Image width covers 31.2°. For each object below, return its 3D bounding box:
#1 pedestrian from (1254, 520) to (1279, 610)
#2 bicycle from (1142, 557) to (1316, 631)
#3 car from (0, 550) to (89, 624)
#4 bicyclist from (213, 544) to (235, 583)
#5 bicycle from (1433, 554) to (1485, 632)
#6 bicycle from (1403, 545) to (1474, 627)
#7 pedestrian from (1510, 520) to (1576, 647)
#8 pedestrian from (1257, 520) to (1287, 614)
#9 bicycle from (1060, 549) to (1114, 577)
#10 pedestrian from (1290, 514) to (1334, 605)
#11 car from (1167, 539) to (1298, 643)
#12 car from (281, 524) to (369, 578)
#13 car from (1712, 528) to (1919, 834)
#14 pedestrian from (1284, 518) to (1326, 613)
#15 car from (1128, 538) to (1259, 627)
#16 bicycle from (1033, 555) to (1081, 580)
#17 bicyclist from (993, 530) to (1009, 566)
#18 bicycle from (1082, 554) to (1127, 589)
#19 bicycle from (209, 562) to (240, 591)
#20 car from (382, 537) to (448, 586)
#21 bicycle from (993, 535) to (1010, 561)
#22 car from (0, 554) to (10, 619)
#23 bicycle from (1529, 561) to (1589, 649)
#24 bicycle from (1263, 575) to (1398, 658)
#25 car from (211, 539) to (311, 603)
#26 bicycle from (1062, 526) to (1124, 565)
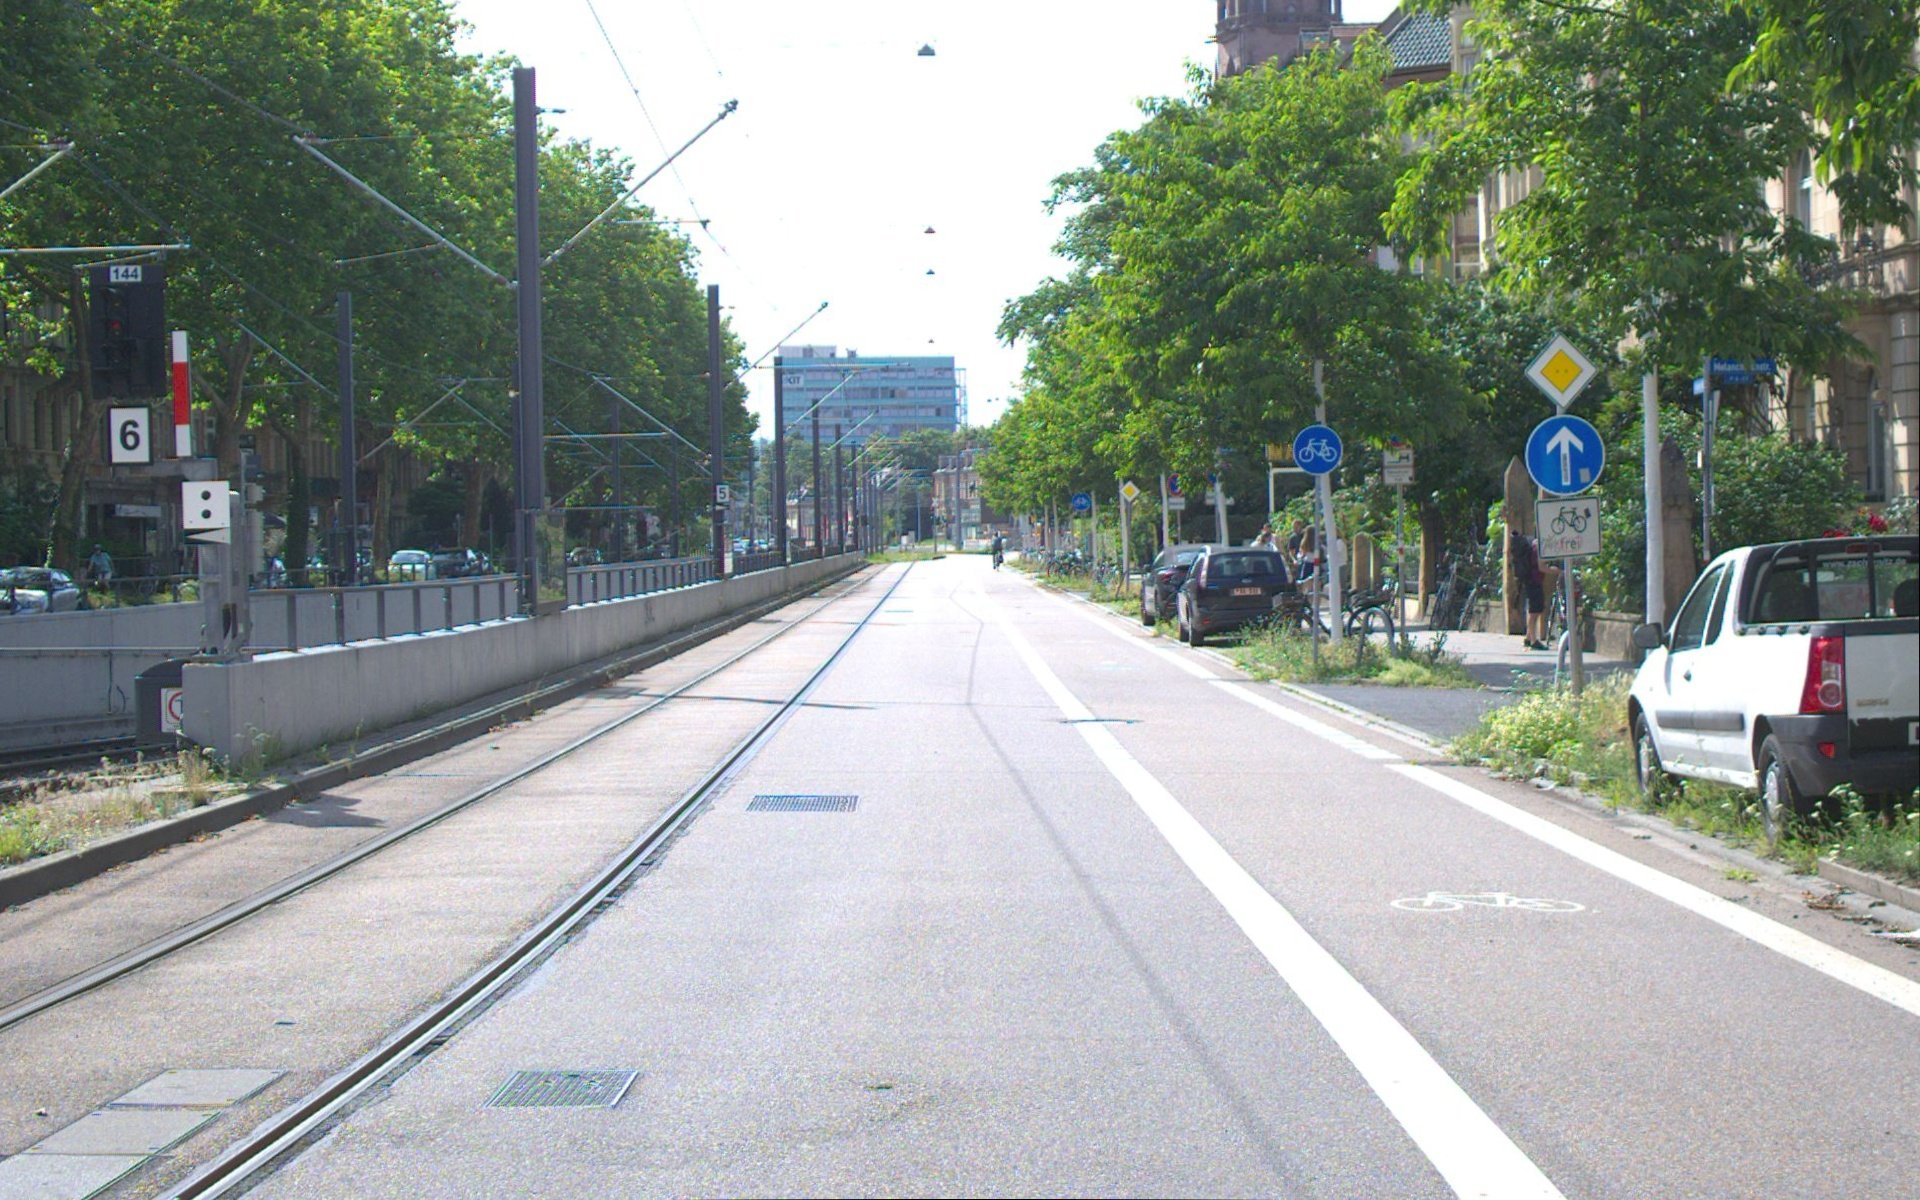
[{"bbox_3d":[5.918,-0.672,66.317,0.318,1.701,0.460,-3,1,14],"label":"pedestrian"},{"bbox_3d":[4.761,-0.114,60.889,2.945,1.242,0.793,-1,1,-13],"label":"bicycle"},{"bbox_3d":[-20.140,-0.281,74.186,1.643,1.477,4.002,-3,1,-1],"label":"car"},{"bbox_3d":[-23.978,-1.193,112.056,0.535,1.227,0.724,-1,1,0],"label":"bicyclist"},{"bbox_3d":[7.649,-0.116,52.776,0.427,1.136,2.023,-4,1,0],"label":"bicycle"},{"bbox_3d":[7.733,-0.250,55.631,0.657,1.244,2.943,-4,1,0],"label":"bicycle"},{"bbox_3d":[7.586,-0.221,44.749,0.723,1.623,0.725,-1,1,0],"label":"pedestrian"},{"bbox_3d":[6.065,-0.637,66.822,0.459,1.798,0.319,-3,1,-2],"label":"pedestrian"},{"bbox_3d":[4.544,-1.318,123.169,1.816,0.899,0.652,-3,1,-3],"label":"bicycle"},{"bbox_3d":[6.629,-0.766,64.782,0.528,1.670,0.575,-4,1,-18],"label":"pedestrian"},{"bbox_3d":[4.270,-0.183,54.388,1.686,1.497,4.708,-1,1,0],"label":"car"},{"bbox_3d":[-21.194,-1.646,114.845,1.994,1.631,4.000,-3,1,2],"label":"car"},{"bbox_3d":[4.980,0.353,18.140,1.669,1.411,3.843,1,2,8],"label":"car"},{"bbox_3d":[6.680,-0.676,66.625,0.669,1.798,0.319,-3,1,-2],"label":"pedestrian"},{"bbox_3d":[4.335,-0.362,64.406,1.798,1.521,4.490,-3,1,-4],"label":"car"},{"bbox_3d":[3.930,-1.336,139.371,1.816,0.899,0.604,-3,1,-3],"label":"bicycle"},{"bbox_3d":[1.994,-2.519,167.097,0.770,1.724,1.026,-1,1,0],"label":"bicyclist"},{"bbox_3d":[4.426,-0.875,105.356,0.649,1.035,1.822,-4,2,-21],"label":"bicycle"},{"bbox_3d":[-23.972,-0.782,112.051,0.535,0.910,2.149,-1,1,0],"label":"bicycle"},{"bbox_3d":[-21.055,-1.507,133.041,1.839,1.722,4.000,-3,1,0],"label":"car"},{"bbox_3d":[1.991,-2.522,167.125,0.799,1.232,2.778,-1,1,0],"label":"bicycle"},{"bbox_3d":[-20.096,-0.185,67.963,1.497,1.299,3.491,-3,1,2],"label":"car"},{"bbox_3d":[7.800,0.056,44.796,0.470,1.104,1.711,-1,1,0],"label":"bicycle"},{"bbox_3d":[4.880,0.214,45.305,1.705,1.066,0.471,-1,1,-6],"label":"bicycle"},{"bbox_3d":[-20.396,-0.865,100.438,1.718,1.685,3.729,-3,2,6],"label":"car"},{"bbox_3d":[4.268,-1.750,110.514,1.815,1.141,0.652,-3,1,-11],"label":"bicycle"}]
